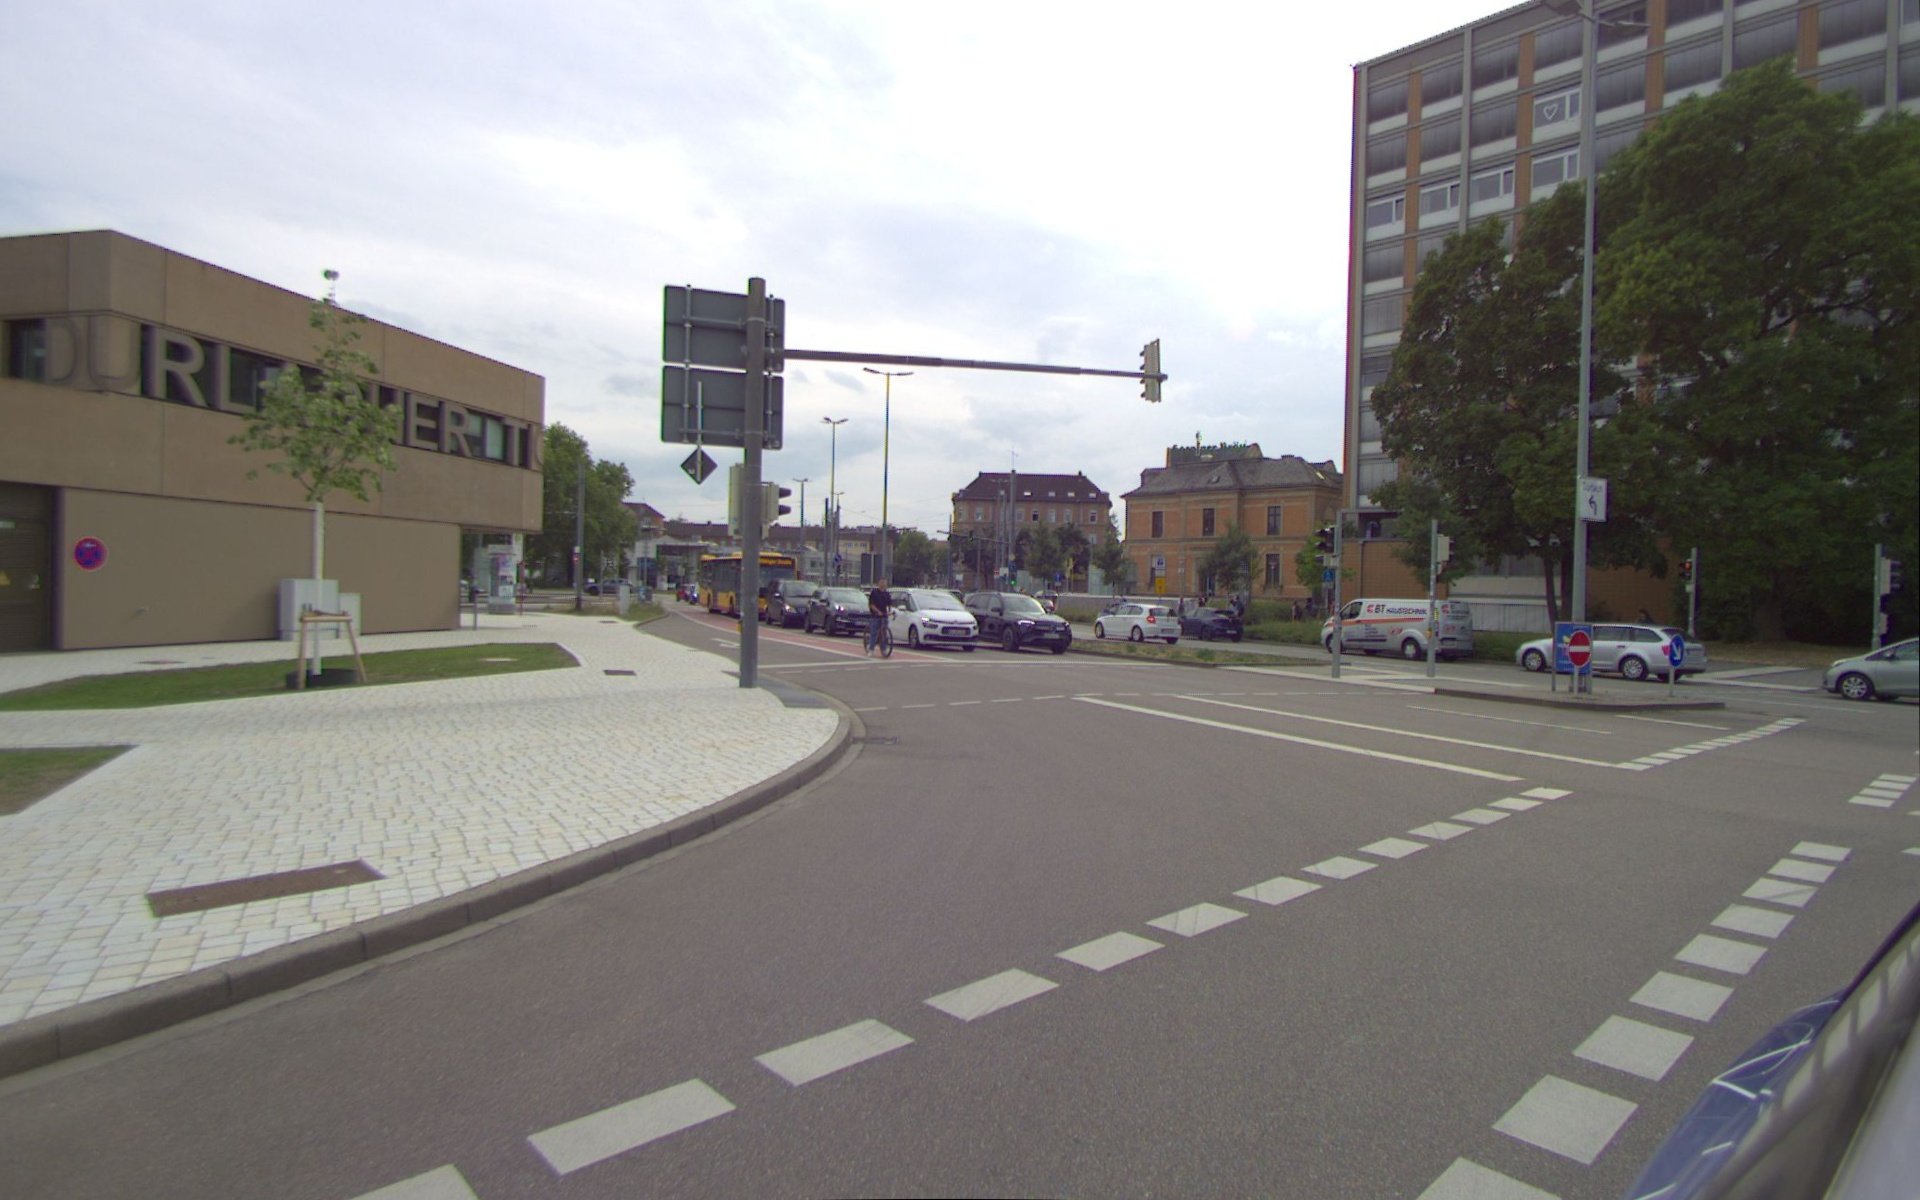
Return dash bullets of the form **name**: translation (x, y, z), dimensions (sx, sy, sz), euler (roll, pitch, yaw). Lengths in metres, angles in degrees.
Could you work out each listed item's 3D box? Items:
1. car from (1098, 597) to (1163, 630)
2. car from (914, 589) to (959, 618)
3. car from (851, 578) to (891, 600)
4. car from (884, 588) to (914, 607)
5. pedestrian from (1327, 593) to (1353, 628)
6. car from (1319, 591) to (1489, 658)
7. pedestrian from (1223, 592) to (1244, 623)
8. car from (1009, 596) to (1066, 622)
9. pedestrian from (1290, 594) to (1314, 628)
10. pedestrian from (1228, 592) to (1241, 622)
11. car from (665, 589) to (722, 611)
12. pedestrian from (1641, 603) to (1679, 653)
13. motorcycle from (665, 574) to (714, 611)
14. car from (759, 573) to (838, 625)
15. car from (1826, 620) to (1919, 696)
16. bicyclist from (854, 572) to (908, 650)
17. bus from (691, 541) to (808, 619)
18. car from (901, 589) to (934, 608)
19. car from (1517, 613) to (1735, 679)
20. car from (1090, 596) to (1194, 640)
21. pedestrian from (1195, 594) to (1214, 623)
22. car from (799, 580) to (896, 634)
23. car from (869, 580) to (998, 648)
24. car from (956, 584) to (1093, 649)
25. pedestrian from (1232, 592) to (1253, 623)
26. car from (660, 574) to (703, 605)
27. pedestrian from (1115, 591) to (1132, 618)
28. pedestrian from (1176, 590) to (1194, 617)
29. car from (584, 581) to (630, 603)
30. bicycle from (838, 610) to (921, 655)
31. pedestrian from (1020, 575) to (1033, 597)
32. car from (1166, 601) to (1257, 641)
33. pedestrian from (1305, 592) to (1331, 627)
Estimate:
- **car**: translation (8.414, 0.658, 50.290), dimensions (1.636, 1.527, 3.642), euler (3, -1, -18)
- **car**: translation (-1.475, 0.202, 61.770), dimensions (1.723, 1.672, 4.695), euler (3, -1, -13)
- **car**: translation (-6.625, -0.806, 75.043), dimensions (1.638, 1.508, 3.444), euler (2, 0, -31)
- **car**: translation (-5.697, -0.244, 94.142), dimensions (1.801, 1.635, 3.553), euler (3, -1, -18)
- **pedestrian**: translation (17.402, 0.475, 46.383), dimensions (0.764, 1.593, 0.814), euler (0, 1, -17)
- **car**: translation (14.612, 0.743, 33.674), dimensions (1.787, 1.984, 5.214), euler (3, -1, -26)
- **pedestrian**: translation (14.135, 0.385, 52.356), dimensions (0.764, 1.593, 0.814), euler (0, 1, -13)
- **car**: translation (4.605, 0.505, 60.698), dimensions (2.094, 1.438, 3.708), euler (3, -1, -19)
- **pedestrian**: translation (16.290, 0.515, 48.249), dimensions (0.764, 1.593, 0.814), euler (0, 1, -13)
- **pedestrian**: translation (14.232, 0.355, 52.424), dimensions (0.546, 1.555, 0.543), euler (0, 1, 31)
- **car**: translation (-21.828, 0.029, 82.979), dimensions (3.956, 1.594, 1.997), euler (3, -1, -41)
- **pedestrian**: translation (22.962, 0.897, 33.206), dimensions (0.766, 1.593, 0.812), euler (-1, 1, -36)
- **motorcycle**: translation (-16.352, -0.447, 61.031), dimensions (1.959, 2.039, 4.006), euler (3, -1, -27)
- **car**: translation (-6.547, -0.044, 40.649), dimensions (1.958, 1.923, 4.298), euler (3, -1, -25)
- **car**: translation (20.721, 1.266, 20.972), dimensions (1.637, 1.508, 3.881), euler (3, -1, -28)
- **bicyclist**: translation (-1.779, 0.241, 22.694), dimensions (0.852, 1.690, 0.882), euler (3, -1, -30)
- **bus**: translation (-10.789, -0.914, 50.535), dimensions (3.092, 3.296, 12.436), euler (3, -1, -24)
- **car**: translation (-3.460, -0.099, 81.798), dimensions (1.680, 1.438, 4.008), euler (3, -1, -17)
- **car**: translation (17.593, 1.173, 26.994), dimensions (1.788, 1.493, 4.534), euler (3, -1, -28)
- **car**: translation (6.756, 0.643, 37.979), dimensions (1.723, 1.476, 4.231), euler (3, -1, -24)
- **pedestrian**: translation (13.490, 0.457, 55.883), dimensions (0.764, 1.593, 0.814), euler (0, 1, -13)
- **car**: translation (-3.919, 0.216, 34.667), dimensions (1.958, 1.672, 4.298), euler (3, -1, -25)
- **car**: translation (-0.836, 0.343, 28.058), dimensions (1.958, 1.672, 4.298), euler (3, -1, -25)
- **car**: translation (1.740, 0.425, 29.005), dimensions (1.958, 1.672, 4.520), euler (3, -1, -25)
- **pedestrian**: translation (14.922, 0.387, 53.419), dimensions (0.764, 1.593, 0.814), euler (0, 1, -13)
- **car**: translation (-18.633, -0.711, 67.574), dimensions (1.958, 1.923, 4.298), euler (3, -1, -25)
- **pedestrian**: translation (9.799, 0.252, 60.536), dimensions (0.764, 1.593, 0.814), euler (0, 1, -13)
- **pedestrian**: translation (13.425, 0.204, 60.445), dimensions (0.764, 1.593, 0.814), euler (0, 1, -13)
- **car**: translation (-32.925, -0.745, 94.443), dimensions (3.915, 1.906, 2.004), euler (3, -1, -19)
- **bicycle**: translation (-1.848, 0.717, 22.743), dimensions (0.847, 0.888, 2.522), euler (3, -1, -30)
- **pedestrian**: translation (4.940, -1.037, 75.224), dimensions (0.764, 1.593, 0.814), euler (0, 1, -13)
- **car**: translation (10.789, 0.859, 43.706), dimensions (1.824, 1.552, 4.010), euler (3, -1, -20)
- **pedestrian**: translation (16.267, 0.419, 45.965), dimensions (0.764, 1.593, 0.814), euler (0, 1, -17)
